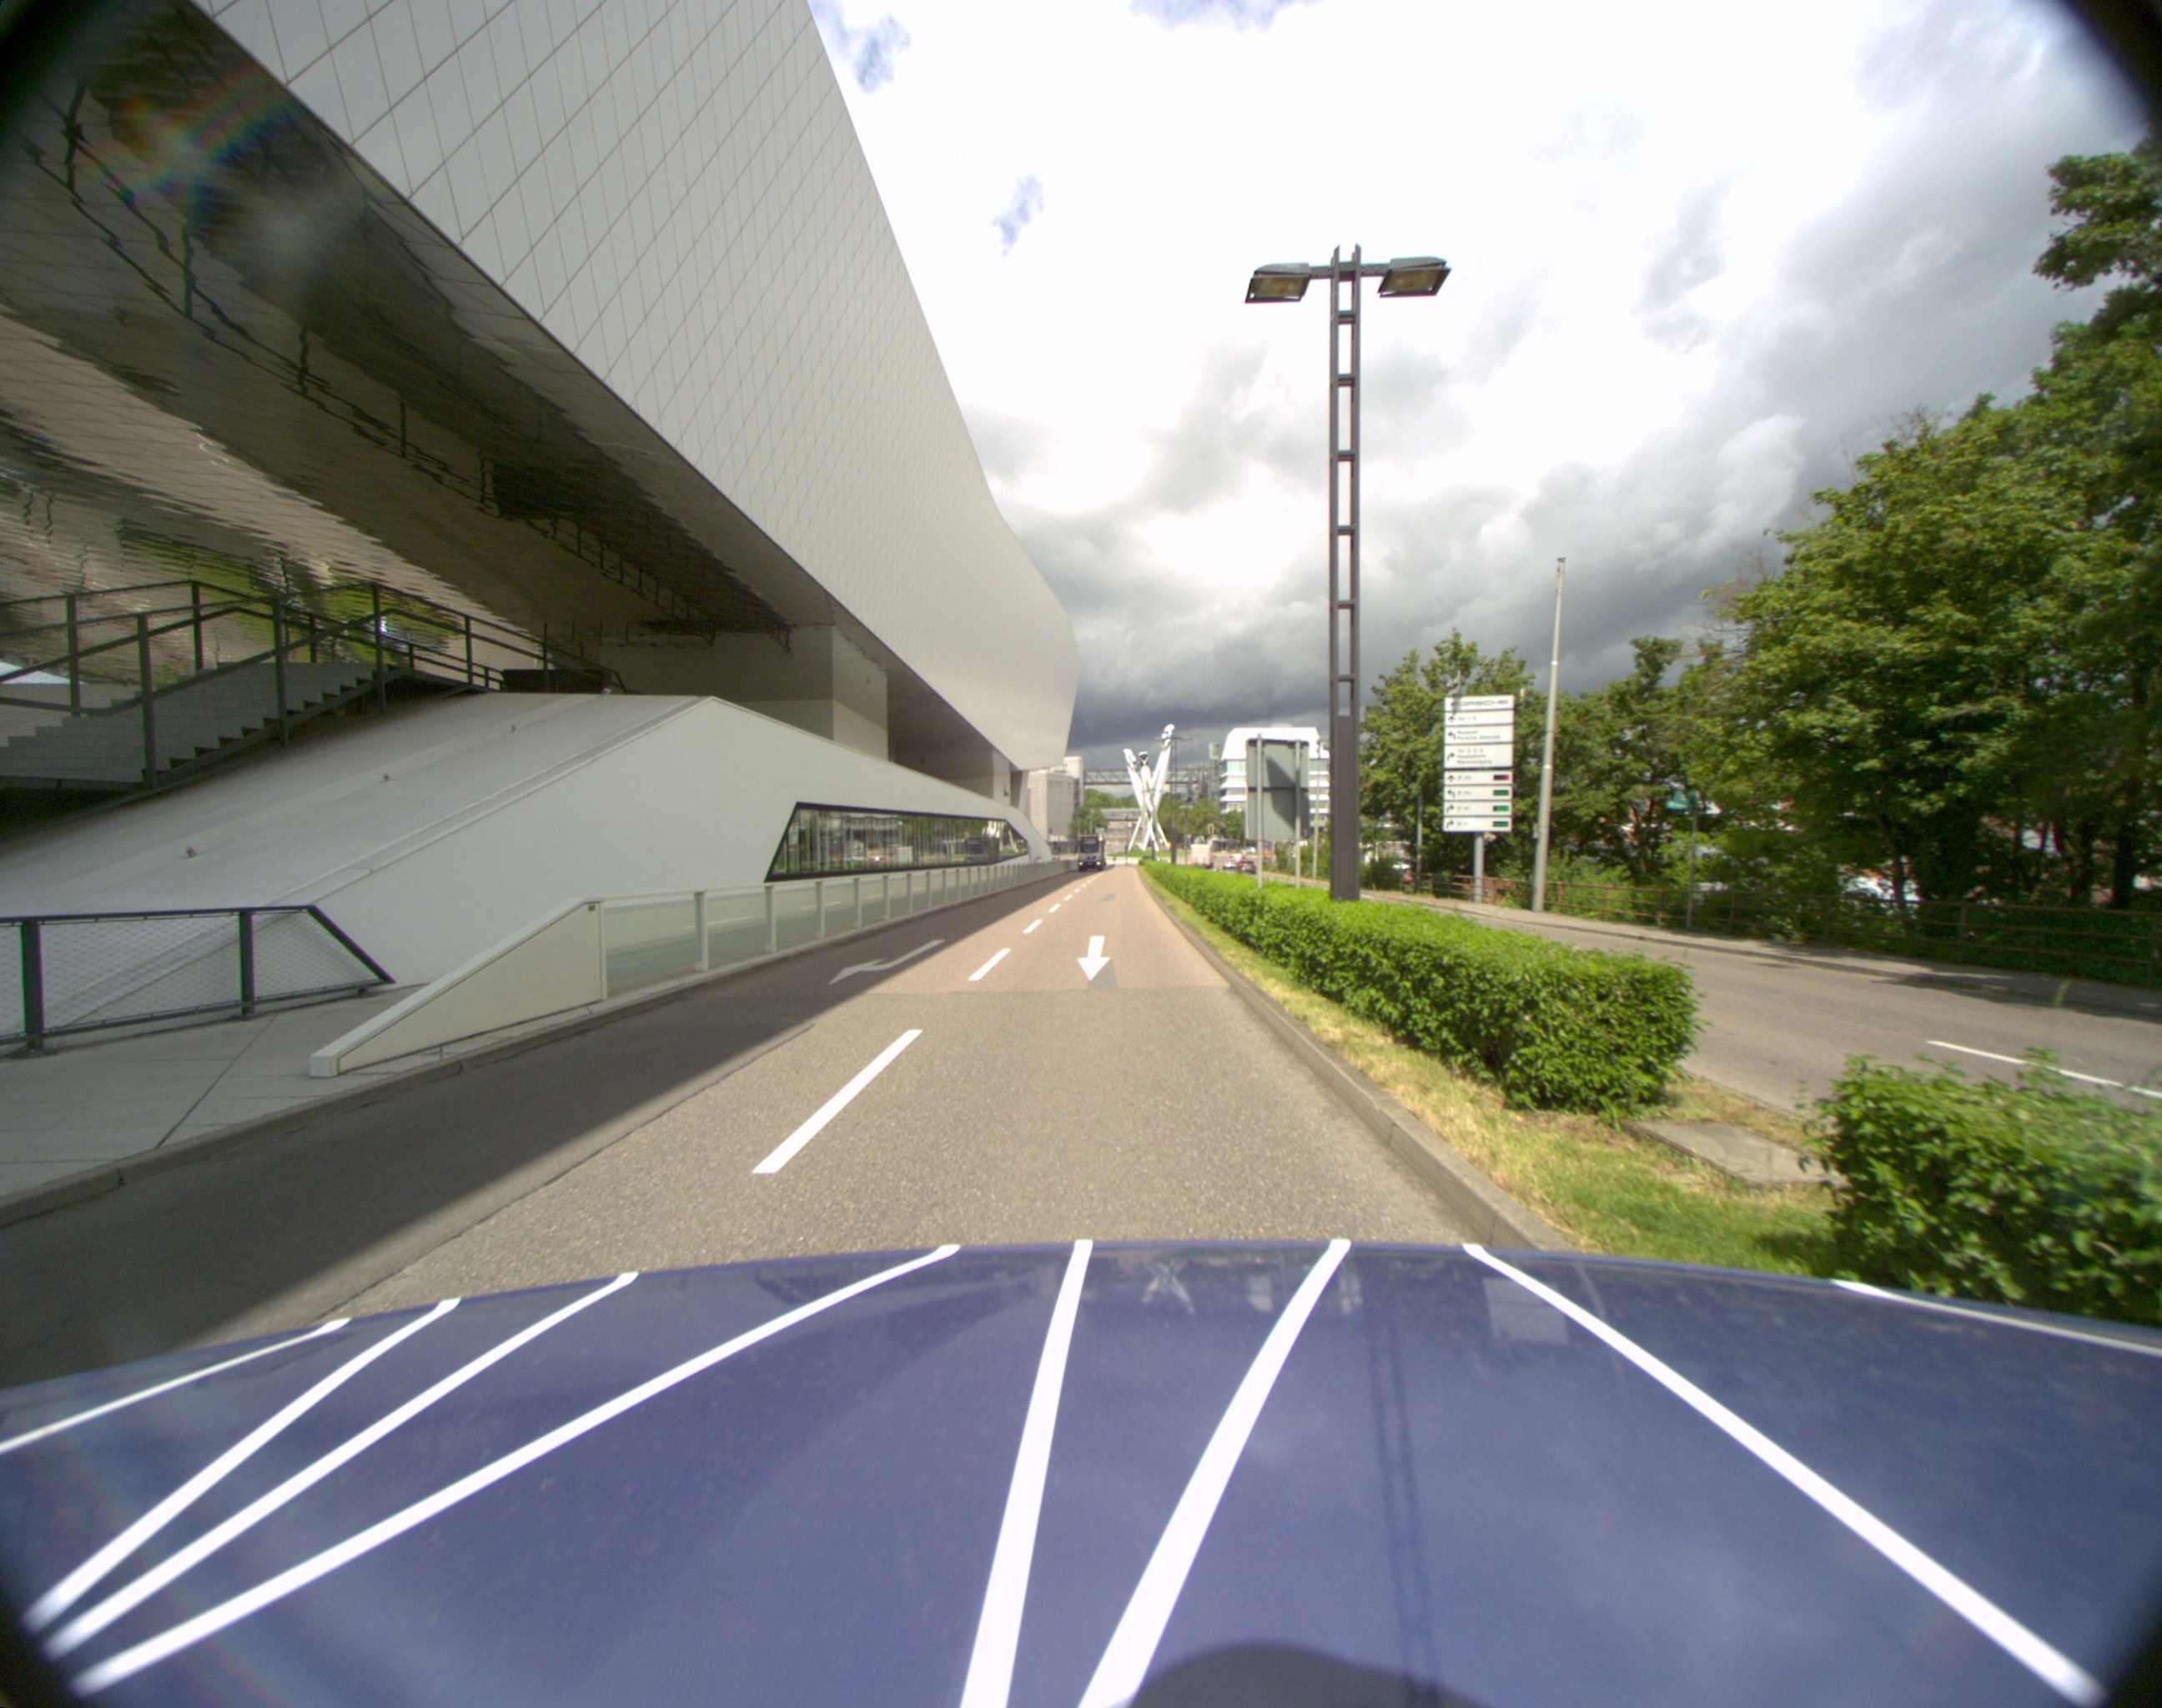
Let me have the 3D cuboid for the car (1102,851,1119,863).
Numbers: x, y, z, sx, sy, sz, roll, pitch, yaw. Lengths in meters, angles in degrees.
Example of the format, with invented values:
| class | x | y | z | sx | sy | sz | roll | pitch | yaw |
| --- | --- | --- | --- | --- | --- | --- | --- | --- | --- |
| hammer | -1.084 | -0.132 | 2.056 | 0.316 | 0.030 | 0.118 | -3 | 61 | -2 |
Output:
| class | x | y | z | sx | sy | sz | roll | pitch | yaw |
| --- | --- | --- | --- | --- | --- | --- | --- | --- | --- |
| car | 4.456 | 0.437 | 116.189 | 1.820 | 1.663 | 4.238 | -1 | 2 | -10 |

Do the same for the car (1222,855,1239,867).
| class | x | y | z | sx | sy | sz | roll | pitch | yaw |
| --- | --- | --- | --- | --- | --- | --- | --- | --- | --- |
| car | 19.029 | 0.824 | 96.585 | 1.798 | 1.414 | 4.496 | 1 | 1 | 14 |

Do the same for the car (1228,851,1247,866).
| class | x | y | z | sx | sy | sz | roll | pitch | yaw |
| --- | --- | --- | --- | --- | --- | --- | --- | --- | --- |
| car | 21.339 | 0.531 | 103.227 | 1.996 | 1.946 | 4.634 | 0 | 1 | 18 |

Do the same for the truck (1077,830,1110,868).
| class | x | y | z | sx | sy | sz | roll | pitch | yaw |
| --- | --- | --- | --- | --- | --- | --- | --- | --- | --- |
| truck | 1.431 | -0.526 | 79.741 | 2.842 | 3.669 | 10.755 | 0 | 1 | 4 |

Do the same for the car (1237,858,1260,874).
| class | x | y | z | sx | sy | sz | roll | pitch | yaw |
| --- | --- | --- | --- | --- | --- | --- | --- | --- | --- |
| car | 16.799 | 1.178 | 76.474 | 1.843 | 1.499 | 4.563 | 0 | 0 | 7 |

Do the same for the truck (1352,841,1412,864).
| class | x | y | z | sx | sy | sz | roll | pitch | yaw |
| --- | --- | --- | --- | --- | --- | --- | --- | --- | --- |
| truck | 49.697 | -0.195 | 125.785 | 2.366 | 3.547 | 8.964 | -2 | 0 | -44 |

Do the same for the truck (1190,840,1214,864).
| class | x | y | z | sx | sy | sz | roll | pitch | yaw |
| --- | --- | --- | --- | --- | --- | --- | --- | --- | --- |
| truck | 16.037 | -0.198 | 101.140 | 2.861 | 2.840 | 9.385 | 0 | -2 | 8 |
